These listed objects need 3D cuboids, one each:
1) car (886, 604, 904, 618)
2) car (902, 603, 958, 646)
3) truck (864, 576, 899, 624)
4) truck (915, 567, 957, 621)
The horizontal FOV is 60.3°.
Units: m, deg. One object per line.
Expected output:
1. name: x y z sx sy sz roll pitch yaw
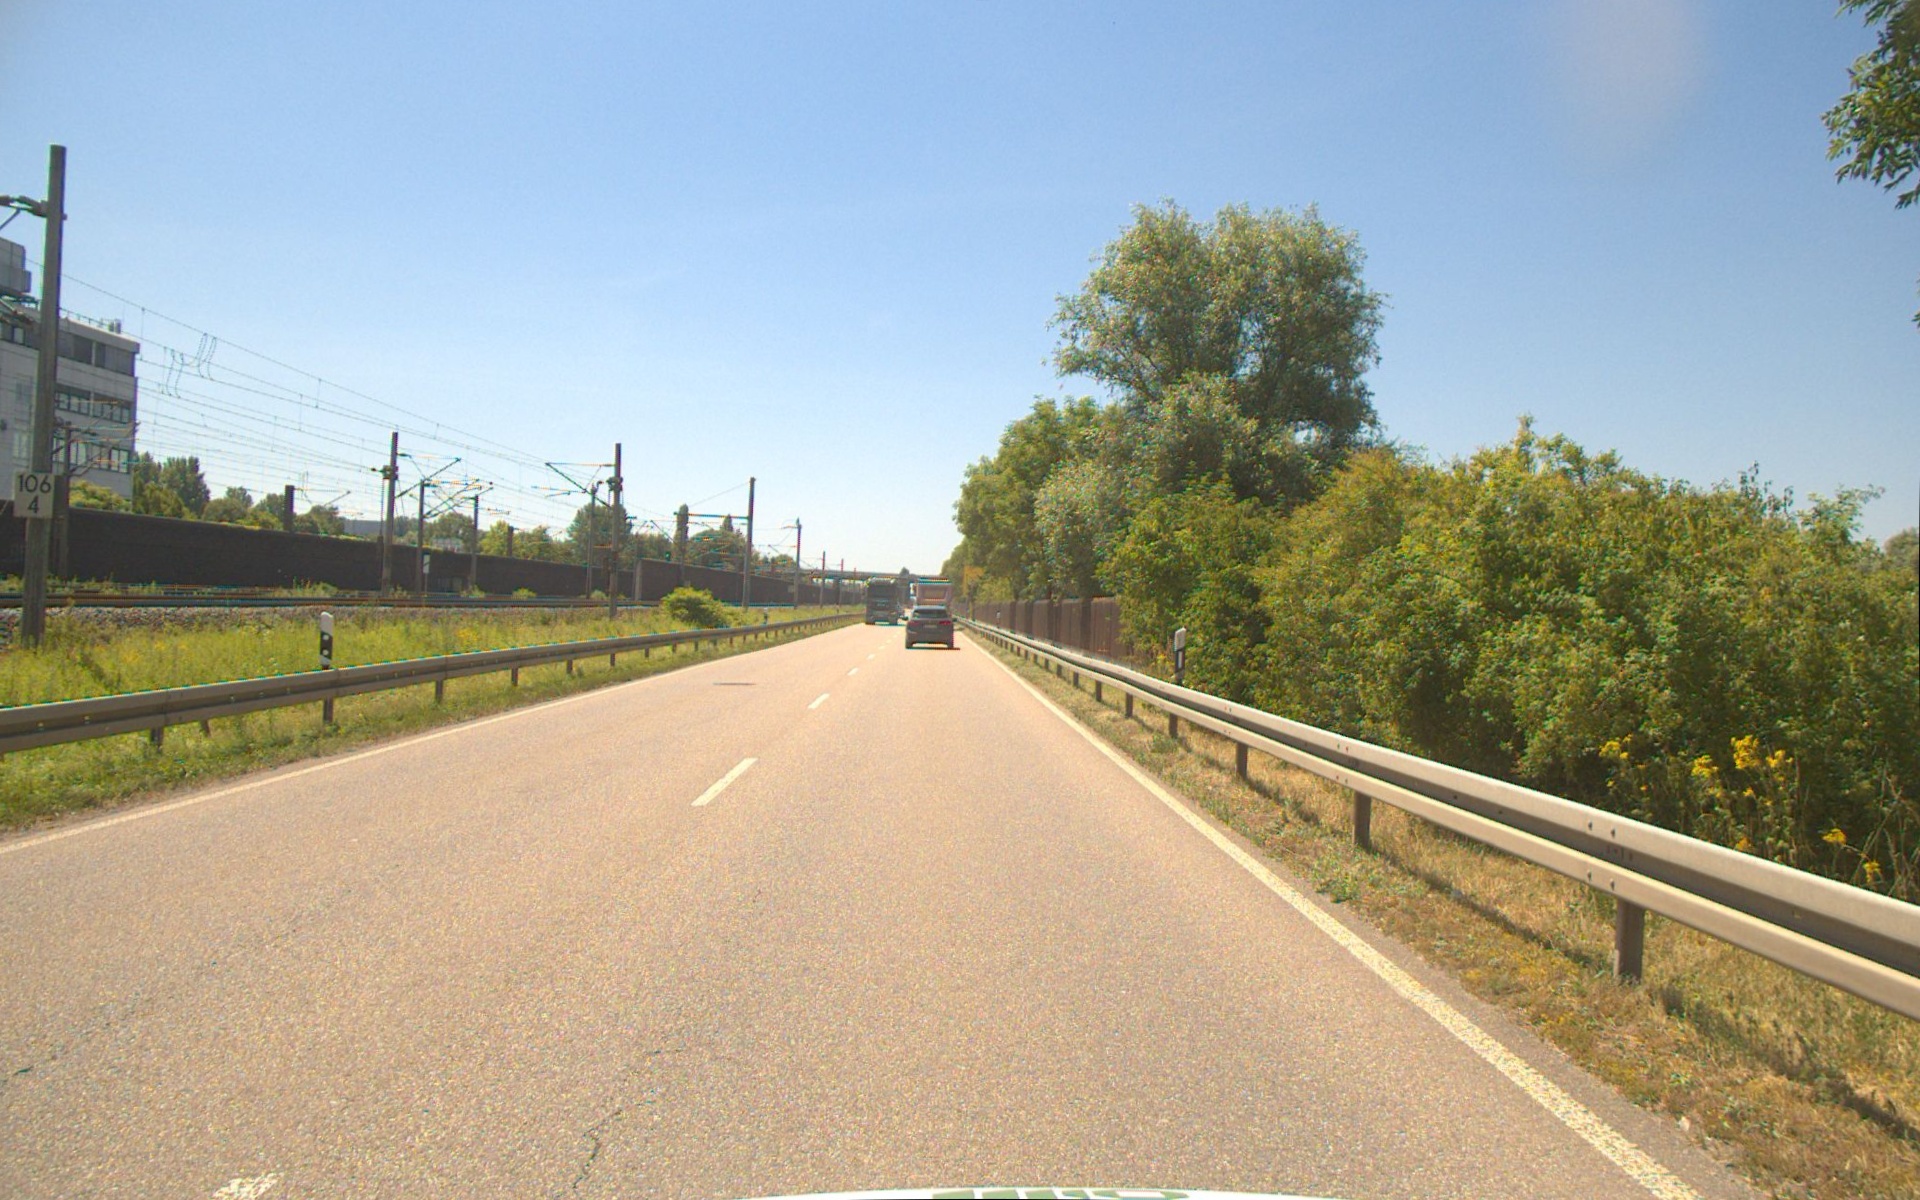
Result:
1. car: -7.279 1.223 186.550 1.935 1.534 4.161 2 0 -1
2. car: -1.152 0.885 61.659 1.954 1.534 3.997 1 0 -3
3. truck: -6.256 -0.019 133.641 2.605 3.690 10.973 2 0 -2
4. truck: -1.702 -0.386 115.833 2.714 3.485 10.816 1 0 -1
